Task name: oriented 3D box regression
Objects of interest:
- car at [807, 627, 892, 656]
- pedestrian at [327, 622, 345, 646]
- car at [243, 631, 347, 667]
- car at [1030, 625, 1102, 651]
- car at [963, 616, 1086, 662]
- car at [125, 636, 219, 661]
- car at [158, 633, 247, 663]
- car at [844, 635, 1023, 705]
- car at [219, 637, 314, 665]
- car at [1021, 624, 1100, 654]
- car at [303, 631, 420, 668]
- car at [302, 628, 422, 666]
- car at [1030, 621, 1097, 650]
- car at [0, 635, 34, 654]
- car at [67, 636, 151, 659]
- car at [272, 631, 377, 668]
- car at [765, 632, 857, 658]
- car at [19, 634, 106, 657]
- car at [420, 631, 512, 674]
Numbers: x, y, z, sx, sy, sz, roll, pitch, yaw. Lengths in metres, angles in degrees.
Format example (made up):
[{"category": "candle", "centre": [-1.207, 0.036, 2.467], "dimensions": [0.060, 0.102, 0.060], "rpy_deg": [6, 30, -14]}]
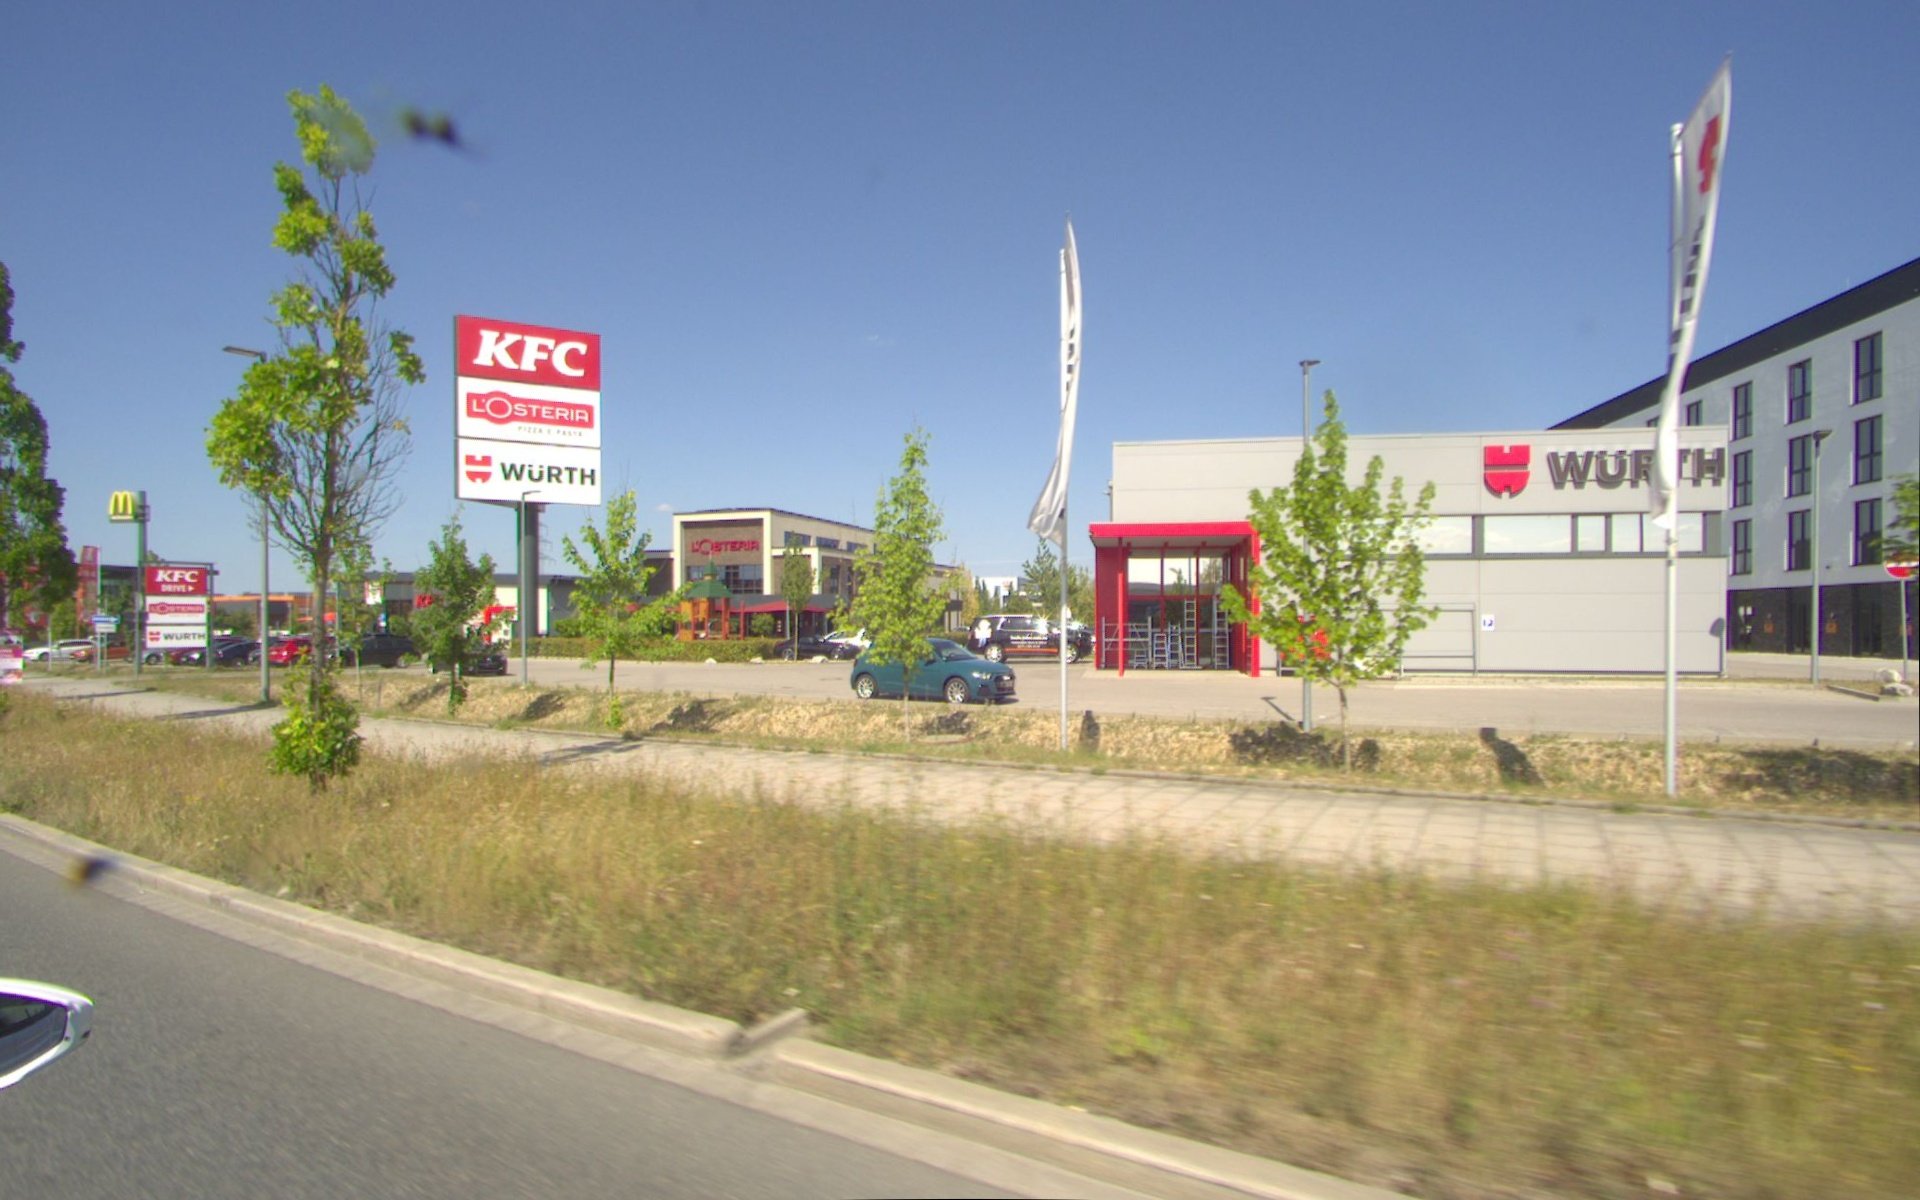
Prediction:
[{"category": "car", "centre": [-5.799, 2.182, 52.721], "dimensions": [4.151, 1.490, 1.702], "rpy_deg": [-1, -1, 8]}, {"category": "pedestrian", "centre": [-52.618, 2.878, 84.441], "dimensions": [0.876, 2.039, 0.914], "rpy_deg": [-1, -1, 23]}, {"category": "car", "centre": [-36.228, 2.634, 54.619], "dimensions": [1.768, 1.757, 4.390], "rpy_deg": [0, 0, 37]}, {"category": "car", "centre": [6.143, 2.203, 57.825], "dimensions": [4.030, 1.481, 1.702], "rpy_deg": [-1, -1, 9]}, {"category": "car", "centre": [2.703, 1.584, 41.252], "dimensions": [4.831, 1.839, 2.048], "rpy_deg": [0, -1, 11]}, {"category": "car", "centre": [-51.826, 3.153, 65.931], "dimensions": [1.841, 1.510, 4.549], "rpy_deg": [-1, -1, 30]}, {"category": "car", "centre": [-47.917, 2.999, 63.396], "dimensions": [1.843, 1.687, 4.143], "rpy_deg": [-1, 0, 34]}, {"category": "car", "centre": [-0.653, 1.531, 22.712], "dimensions": [3.946, 1.426, 1.509], "rpy_deg": [-1, -1, 35]}, {"category": "car", "centre": [-39.505, 2.877, 57.158], "dimensions": [4.361, 1.468, 1.780], "rpy_deg": [0, 0, -33]}, {"category": "car", "centre": [5.267, 2.034, 52.302], "dimensions": [4.030, 1.481, 1.702], "rpy_deg": [-1, -1, 9]}, {"category": "car", "centre": [-28.618, 2.310, 47.994], "dimensions": [1.968, 1.587, 4.393], "rpy_deg": [-1, -1, 35]}, {"category": "car", "centre": [-30.776, 2.384, 51.694], "dimensions": [1.913, 1.757, 4.967], "rpy_deg": [-1, -1, 35]}, {"category": "car", "centre": [6.487, 2.225, 62.526], "dimensions": [4.030, 1.780, 1.702], "rpy_deg": [-1, -1, 9]}, {"category": "car", "centre": [-75.585, 3.554, 79.751], "dimensions": [1.677, 1.480, 4.152], "rpy_deg": [0, -1, -27]}, {"category": "car", "centre": [-60.205, 3.326, 70.921], "dimensions": [1.839, 1.509, 4.203], "rpy_deg": [0, -1, 26]}, {"category": "car", "centre": [-33.542, 2.567, 52.968], "dimensions": [1.768, 1.757, 4.390], "rpy_deg": [0, 0, 37]}, {"category": "car", "centre": [-7.116, 2.150, 48.078], "dimensions": [4.056, 1.227, 1.654], "rpy_deg": [-1, -1, 8]}, {"category": "car", "centre": [-66.697, 3.349, 74.486], "dimensions": [1.839, 1.509, 4.525], "rpy_deg": [0, -1, 26]}, {"category": "car", "centre": [-19.022, 1.990, 38.490], "dimensions": [4.122, 1.559, 1.771], "rpy_deg": [-2, -2, 42]}]
